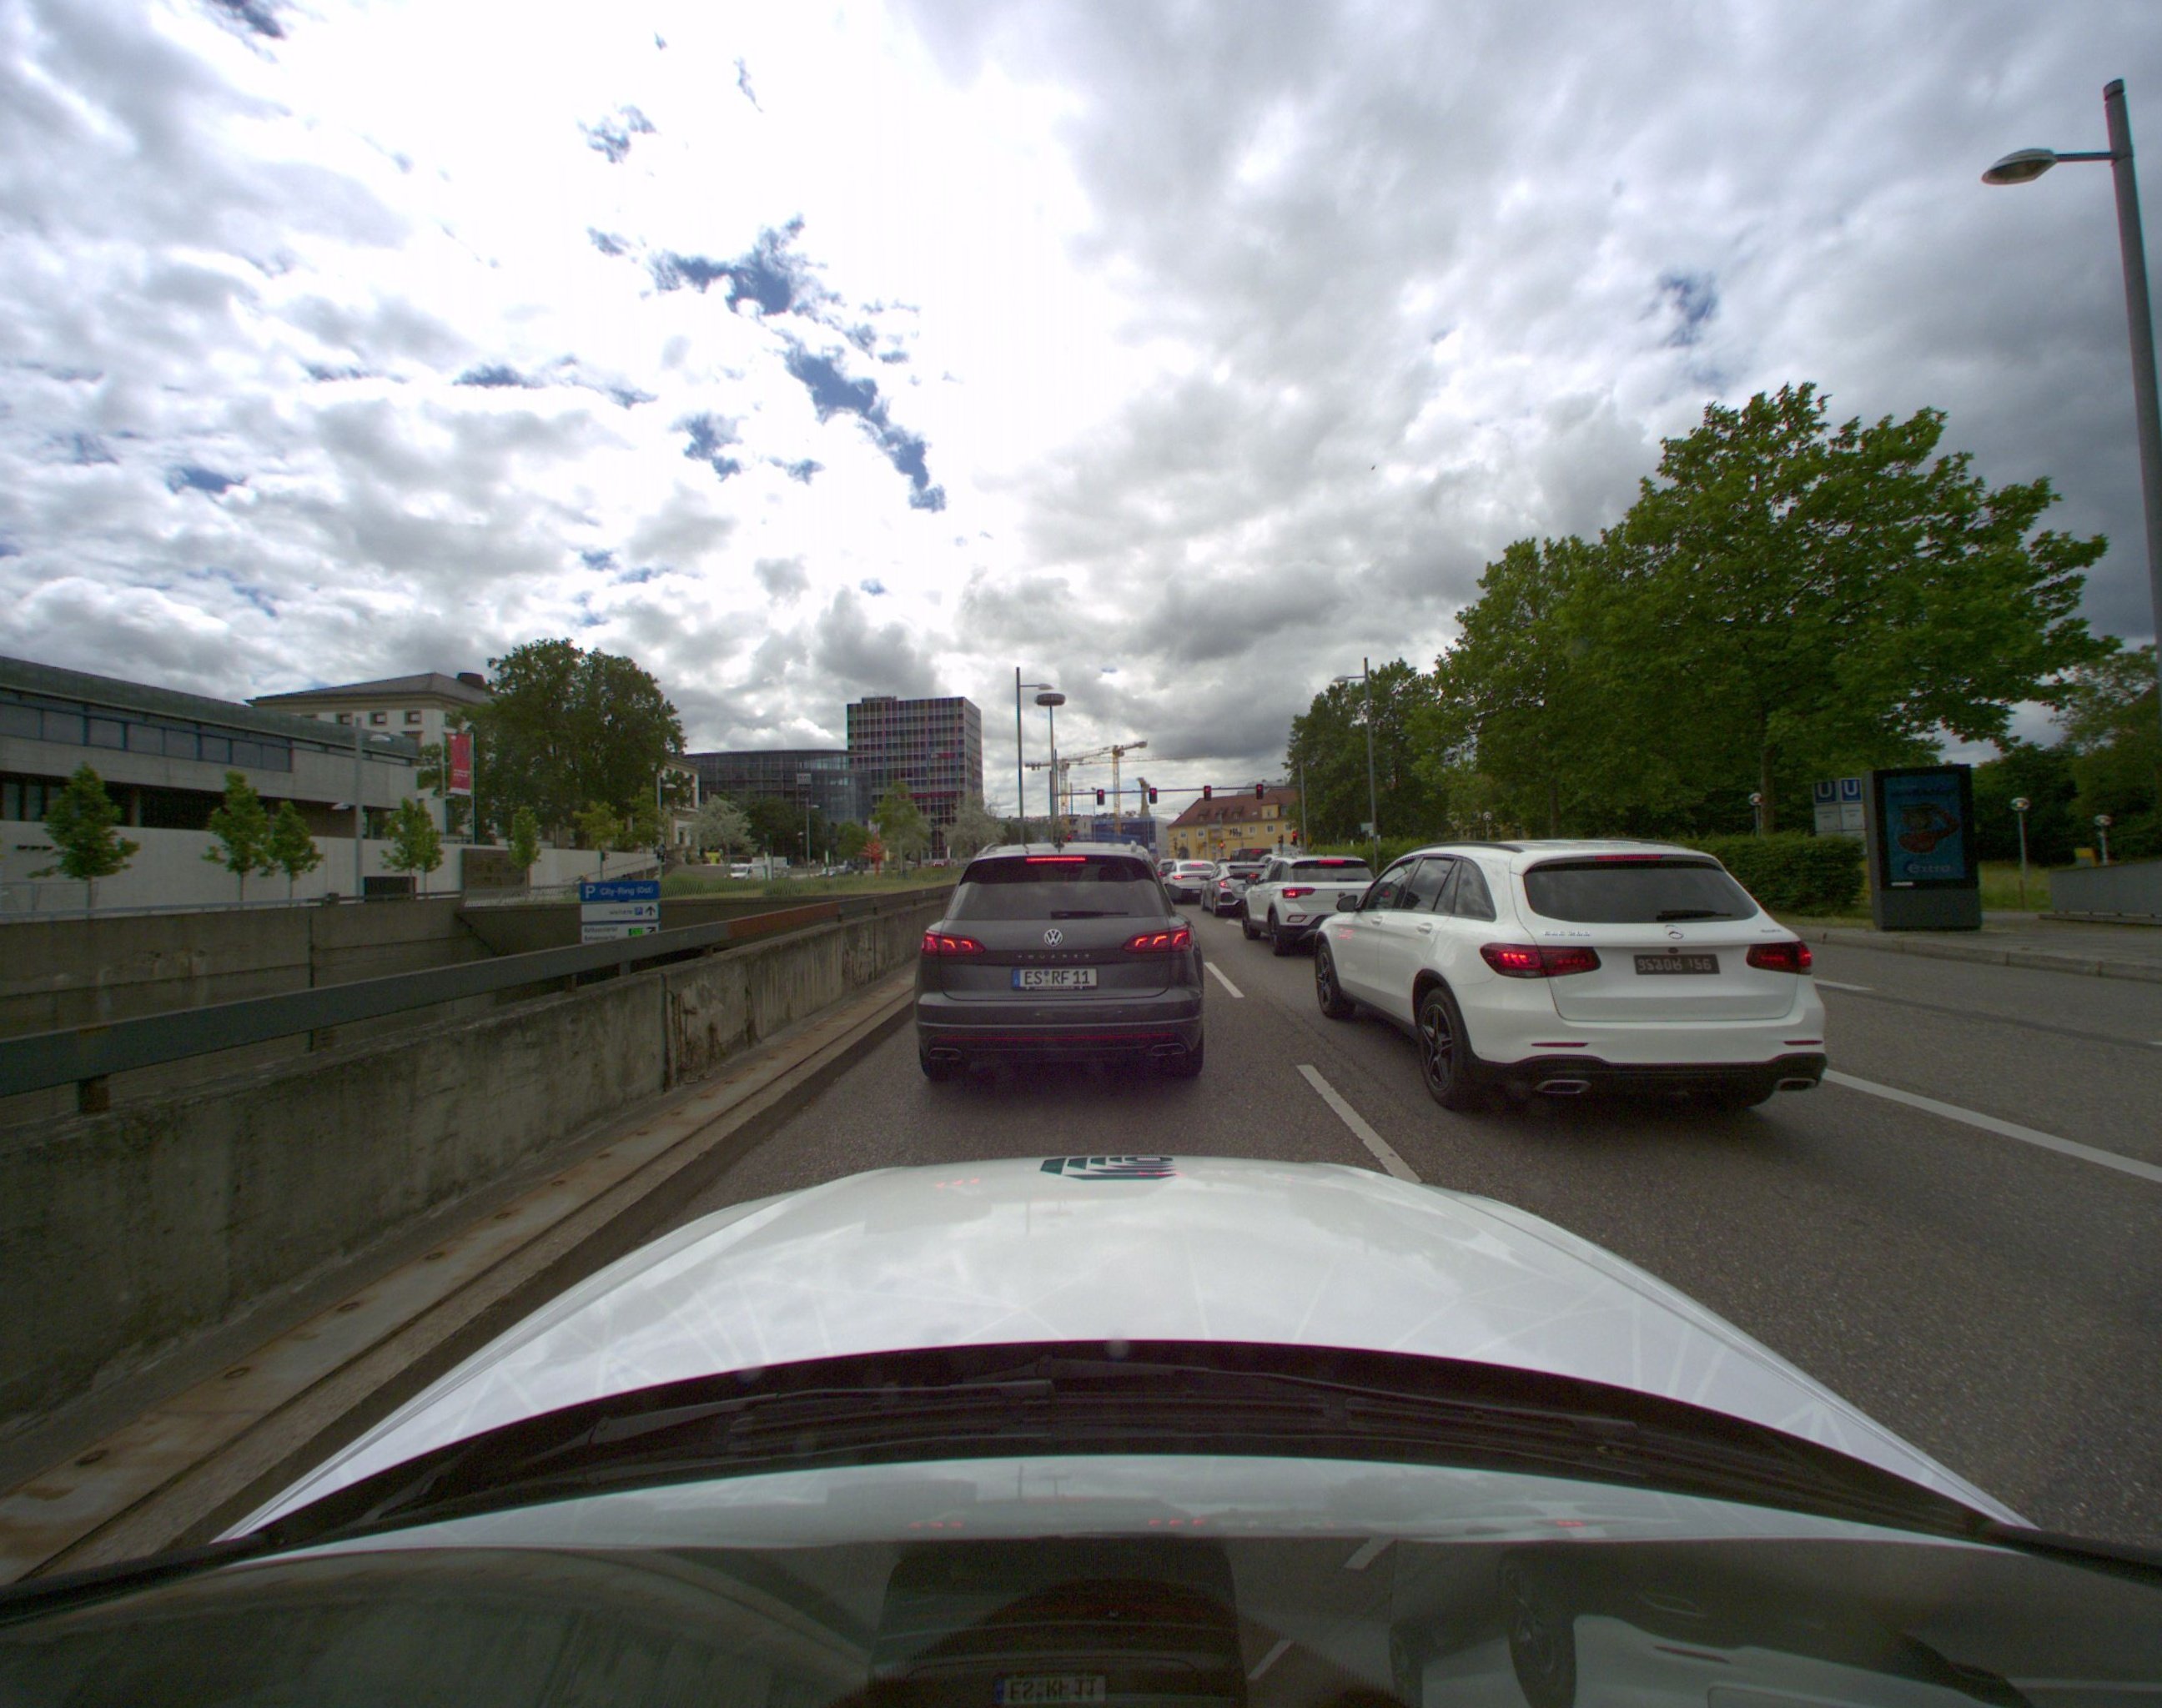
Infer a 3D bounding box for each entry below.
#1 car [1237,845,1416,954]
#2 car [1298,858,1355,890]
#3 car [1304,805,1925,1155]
[{"bbox_3d":[3.977,0.699,14.033,1.918,1.551,4.493,-1,-1,3],"label":"car"},{"bbox_3d":[11.861,0.962,39.637,1.921,1.460,4.535,0,-1,7],"label":"car"},{"bbox_3d":[3.177,0.624,6.177,1.918,1.653,4.493,-1,0,3],"label":"car"}]
